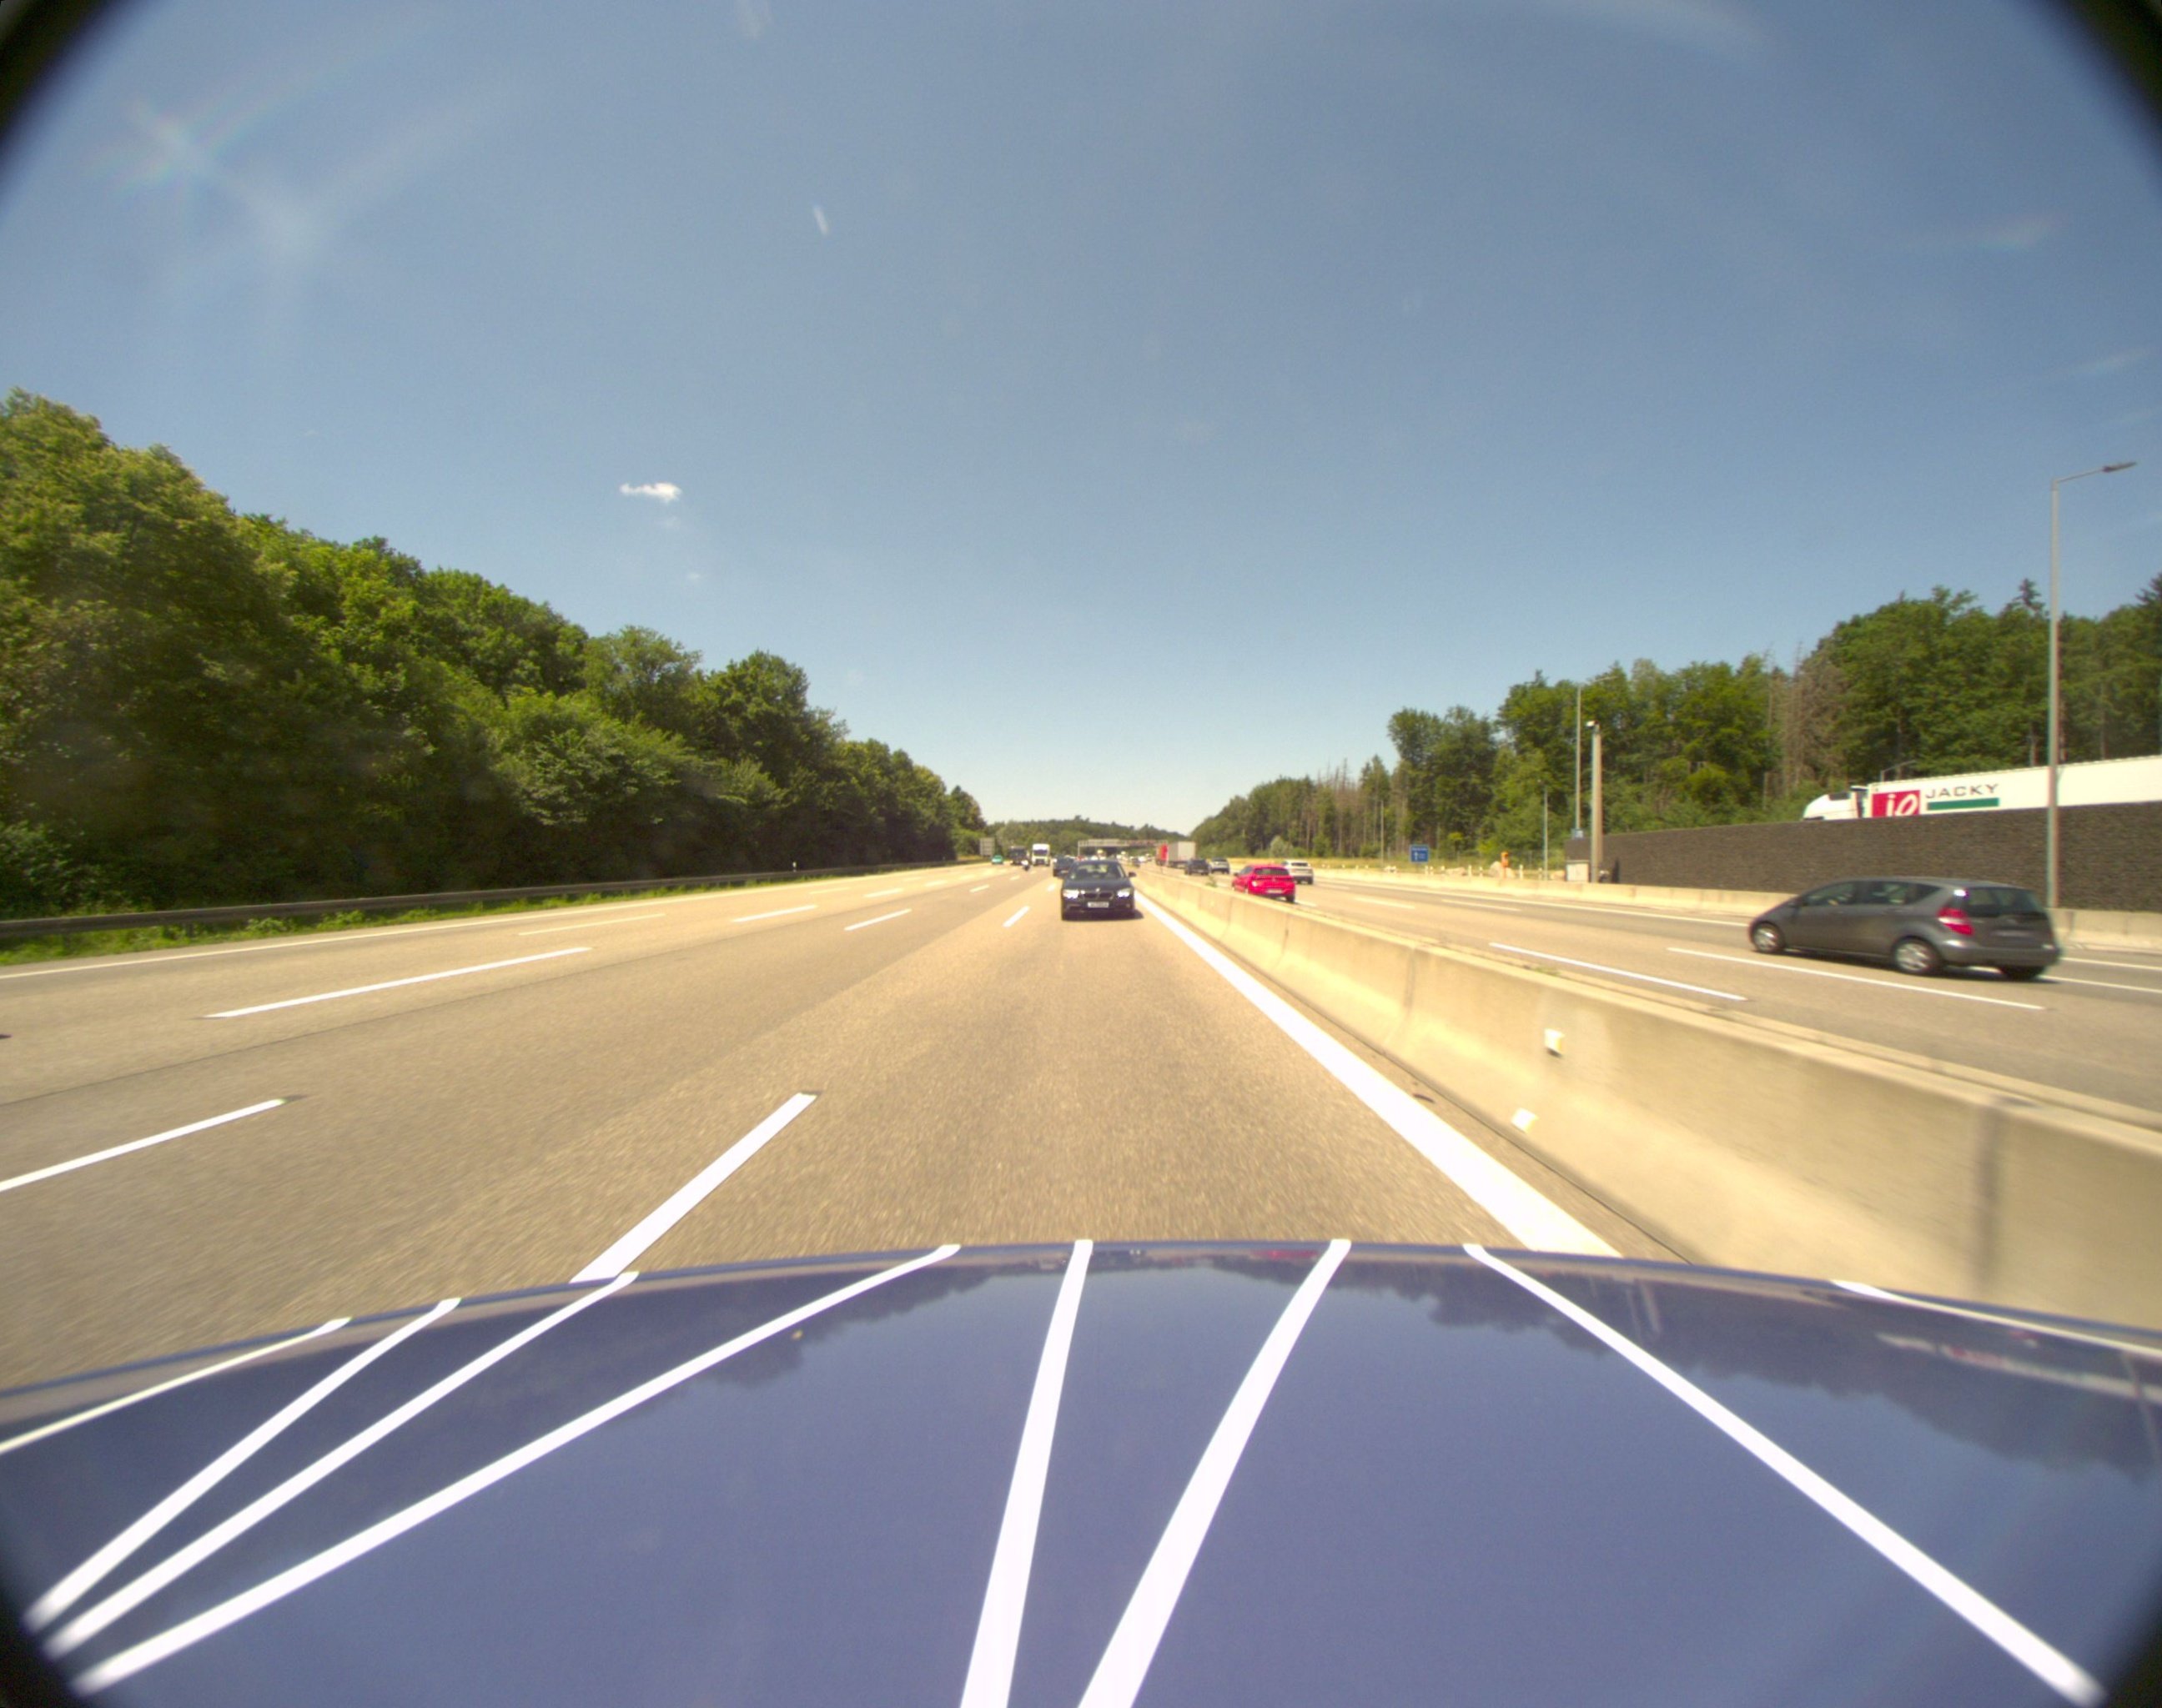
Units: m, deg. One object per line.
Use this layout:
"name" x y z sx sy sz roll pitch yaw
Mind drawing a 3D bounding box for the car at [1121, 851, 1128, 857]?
"car" 15.346 -0.101 268.032 1.998 2.002 5.129 0 1 2

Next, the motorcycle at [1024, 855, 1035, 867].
"motorcycle" -5.491 0.727 80.647 0.925 1.310 2.998 0 0 1

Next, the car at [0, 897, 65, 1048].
"car" -11.287 1.194 5.463 1.647 1.430 4.635 -2 0 0

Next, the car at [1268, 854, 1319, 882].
"car" 14.712 0.913 53.003 1.998 1.763 5.923 0 0 1

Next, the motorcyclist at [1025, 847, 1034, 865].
"motorcyclist" -5.493 0.214 80.698 0.914 1.926 0.905 0 1 0

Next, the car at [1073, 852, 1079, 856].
"car" -1.734 -0.004 259.155 1.910 1.450 4.127 0 1 1

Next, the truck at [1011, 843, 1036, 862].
"truck" -8.972 -0.310 120.536 2.660 2.839 10.886 0 0 3

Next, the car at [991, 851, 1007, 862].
"car" -13.243 0.418 122.482 1.998 1.671 4.127 0 1 2

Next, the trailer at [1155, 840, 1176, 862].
"trailer" 15.796 -0.561 143.702 2.577 4.026 14.181 0 0 1

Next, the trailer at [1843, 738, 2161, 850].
"trailer" 31.369 -1.676 22.546 2.979 3.106 14.608 0 0 1

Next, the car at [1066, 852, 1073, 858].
"car" -3.062 0.249 207.153 1.747 1.529 4.127 0 1 2

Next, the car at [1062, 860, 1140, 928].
"car" 0.512 0.923 19.432 1.741 1.450 4.543 -1 0 2

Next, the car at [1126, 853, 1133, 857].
"car" 15.240 0.247 236.770 1.998 1.369 5.010 0 0 2

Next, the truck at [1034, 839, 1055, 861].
"truck" -5.439 -0.589 114.017 2.428 3.237 8.690 0 1 2

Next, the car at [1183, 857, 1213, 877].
"car" 11.048 1.238 72.305 1.998 1.763 5.923 0 0 1

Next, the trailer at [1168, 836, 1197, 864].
"trailer" 15.271 -0.595 115.427 2.761 3.978 14.466 0 0 1

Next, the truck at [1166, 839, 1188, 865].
"truck" 15.312 -0.366 121.915 2.741 4.008 6.781 0 1 1

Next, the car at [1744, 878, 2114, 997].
"car" 13.974 1.265 12.964 1.726 1.546 4.057 0 0 -1

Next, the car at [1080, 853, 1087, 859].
"car" 0.629 0.464 202.332 1.910 1.450 4.127 0 1 1

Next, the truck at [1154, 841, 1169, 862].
"truck" 15.898 -0.549 150.332 2.534 4.025 6.472 0 0 1

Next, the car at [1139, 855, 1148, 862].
"car" 17.292 1.214 210.423 1.998 1.661 4.612 1 0 1

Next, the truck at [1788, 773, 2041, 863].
"truck" 31.475 -1.253 29.172 2.934 3.106 6.202 0 1 1

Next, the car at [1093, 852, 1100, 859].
"car" 4.845 0.430 234.778 1.998 1.935 4.128 0 0 1

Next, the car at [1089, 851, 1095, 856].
"car" 3.761 -0.190 258.831 1.910 1.450 4.128 0 1 4

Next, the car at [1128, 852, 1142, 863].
"car" 8.606 0.499 121.391 1.788 1.633 5.462 0 0 1

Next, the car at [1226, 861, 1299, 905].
"car" 7.077 1.072 30.164 1.735 1.505 5.044 0 0 1

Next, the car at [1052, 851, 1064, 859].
"car" -4.538 0.183 150.219 1.998 1.671 4.127 0 1 2

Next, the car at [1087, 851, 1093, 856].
"car" 2.921 -0.192 244.086 1.910 1.450 4.126 0 1 0

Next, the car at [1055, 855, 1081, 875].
"car" -0.935 0.818 57.798 1.834 1.454 4.204 0 1 1

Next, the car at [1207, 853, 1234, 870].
"car" 14.907 0.791 81.422 1.998 1.763 5.038 0 0 1
